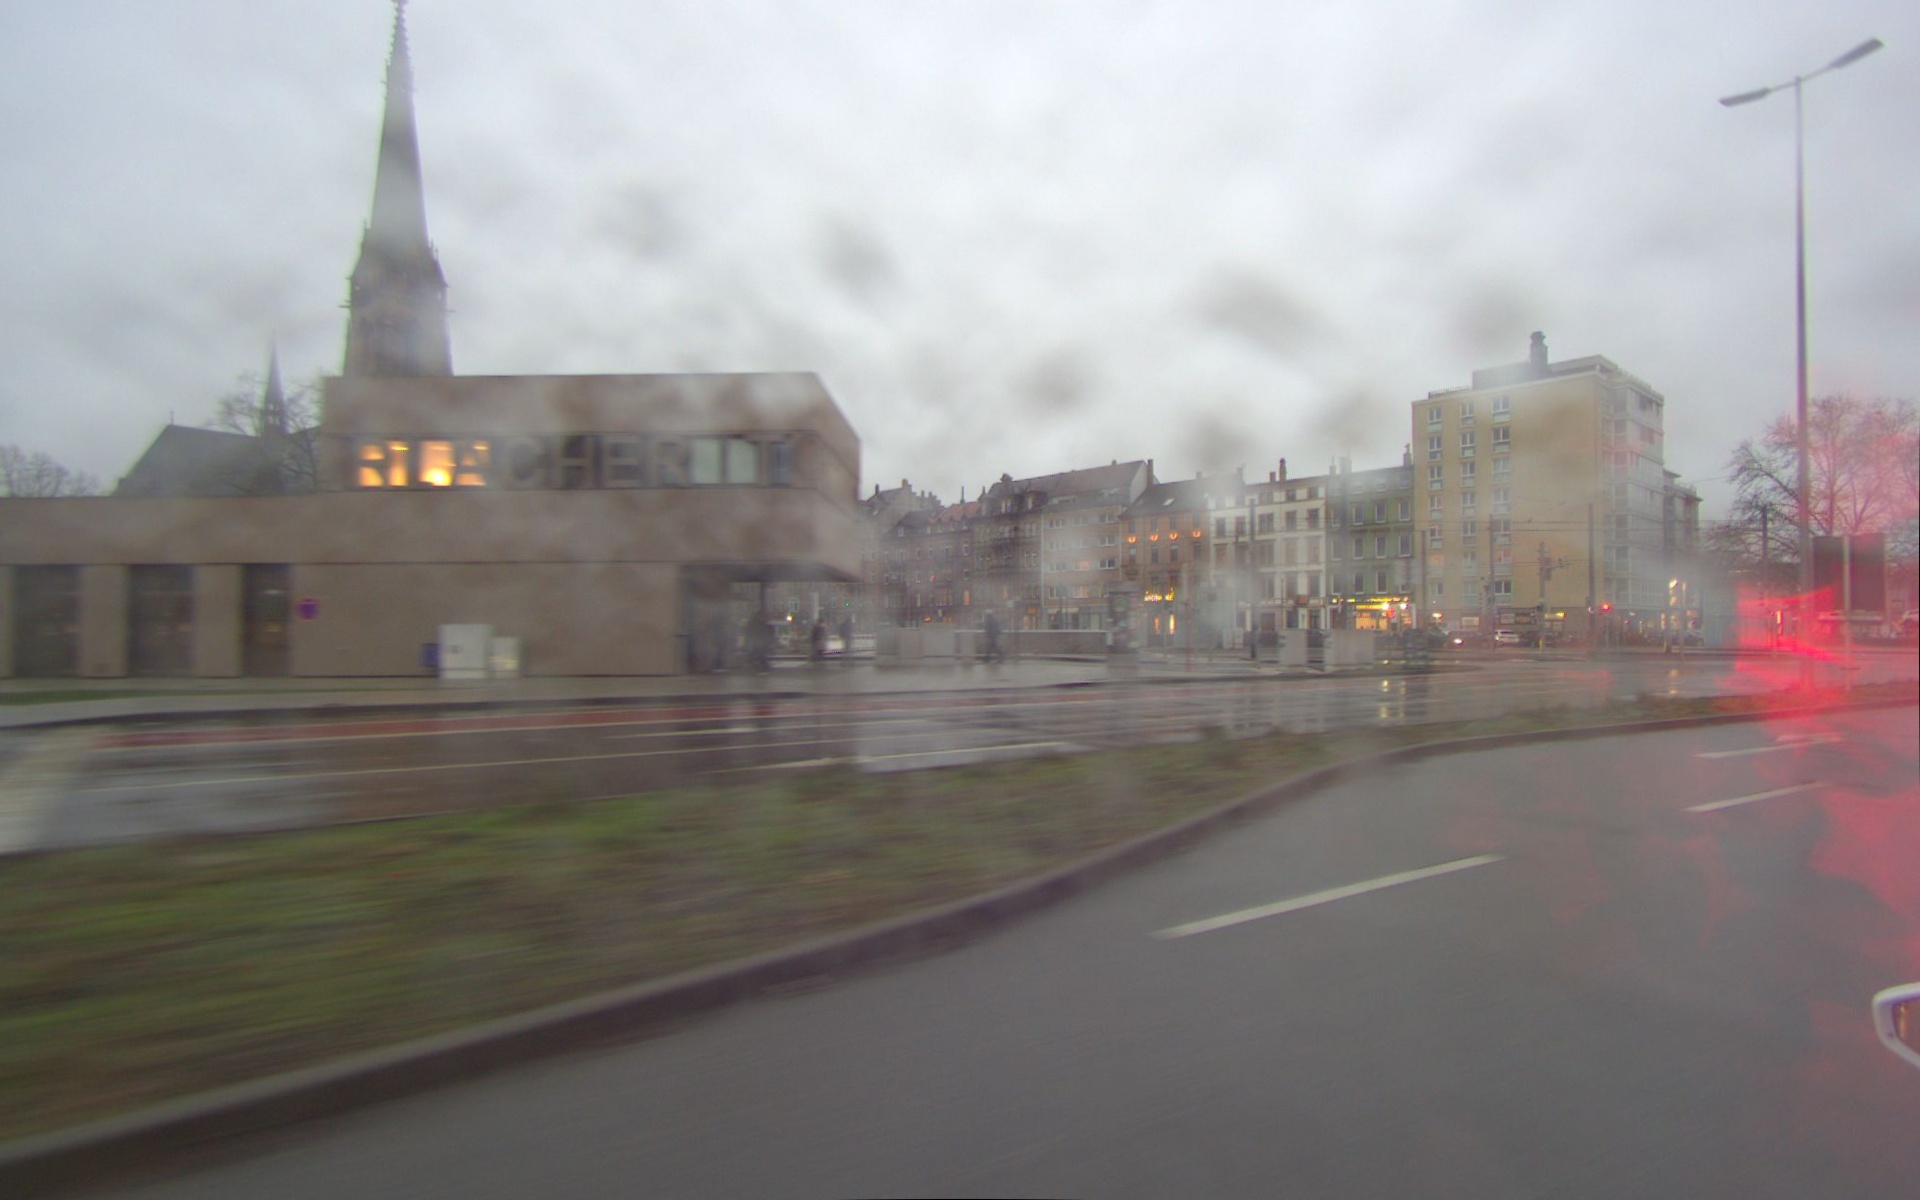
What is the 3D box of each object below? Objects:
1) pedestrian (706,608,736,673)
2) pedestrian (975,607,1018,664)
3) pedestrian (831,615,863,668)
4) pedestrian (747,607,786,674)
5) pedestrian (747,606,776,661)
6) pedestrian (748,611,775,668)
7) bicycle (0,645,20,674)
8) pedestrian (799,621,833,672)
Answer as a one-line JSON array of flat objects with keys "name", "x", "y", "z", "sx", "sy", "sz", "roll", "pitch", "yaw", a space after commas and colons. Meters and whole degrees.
[{"name": "pedestrian", "x": -6.578, "y": 1.111, "z": 27.669, "sx": 0.732, "sy": 1.749, "sz": 0.739, "roll": 0, "pitch": -2, "yaw": -20}, {"name": "pedestrian", "x": 1.268, "y": 1.236, "z": 35.137, "sx": 1.109, "sy": 1.944, "sz": 1.055, "roll": 1, "pitch": -2, "yaw": -28}, {"name": "pedestrian", "x": -3.812, "y": 1.390, "z": 33.874, "sx": 0.790, "sy": 1.774, "sz": 0.758, "roll": -2, "pitch": -2, "yaw": 44}, {"name": "pedestrian", "x": -5.277, "y": 1.089, "z": 27.400, "sx": 0.653, "sy": 1.791, "sz": 0.828, "roll": -2, "pitch": -2, "yaw": 45}, {"name": "pedestrian", "x": -6.476, "y": 1.101, "z": 32.744, "sx": 0.735, "sy": 1.749, "sz": 0.736, "roll": 1, "pitch": -2, "yaw": -32}, {"name": "pedestrian", "x": -6.191, "y": 1.230, "z": 31.340, "sx": 0.732, "sy": 1.749, "sz": 0.739, "roll": 0, "pitch": -2, "yaw": -20}, {"name": "bicycle", "x": -30.228, "y": 1.845, "z": 31.025, "sx": 1.827, "sy": 0.883, "sz": 0.607, "roll": 0, "pitch": -2, "yaw": 1}, {"name": "pedestrian", "x": -4.644, "y": 1.494, "z": 32.483, "sx": 0.946, "sy": 1.624, "sz": 0.856, "roll": 0, "pitch": -2, "yaw": 1}]
